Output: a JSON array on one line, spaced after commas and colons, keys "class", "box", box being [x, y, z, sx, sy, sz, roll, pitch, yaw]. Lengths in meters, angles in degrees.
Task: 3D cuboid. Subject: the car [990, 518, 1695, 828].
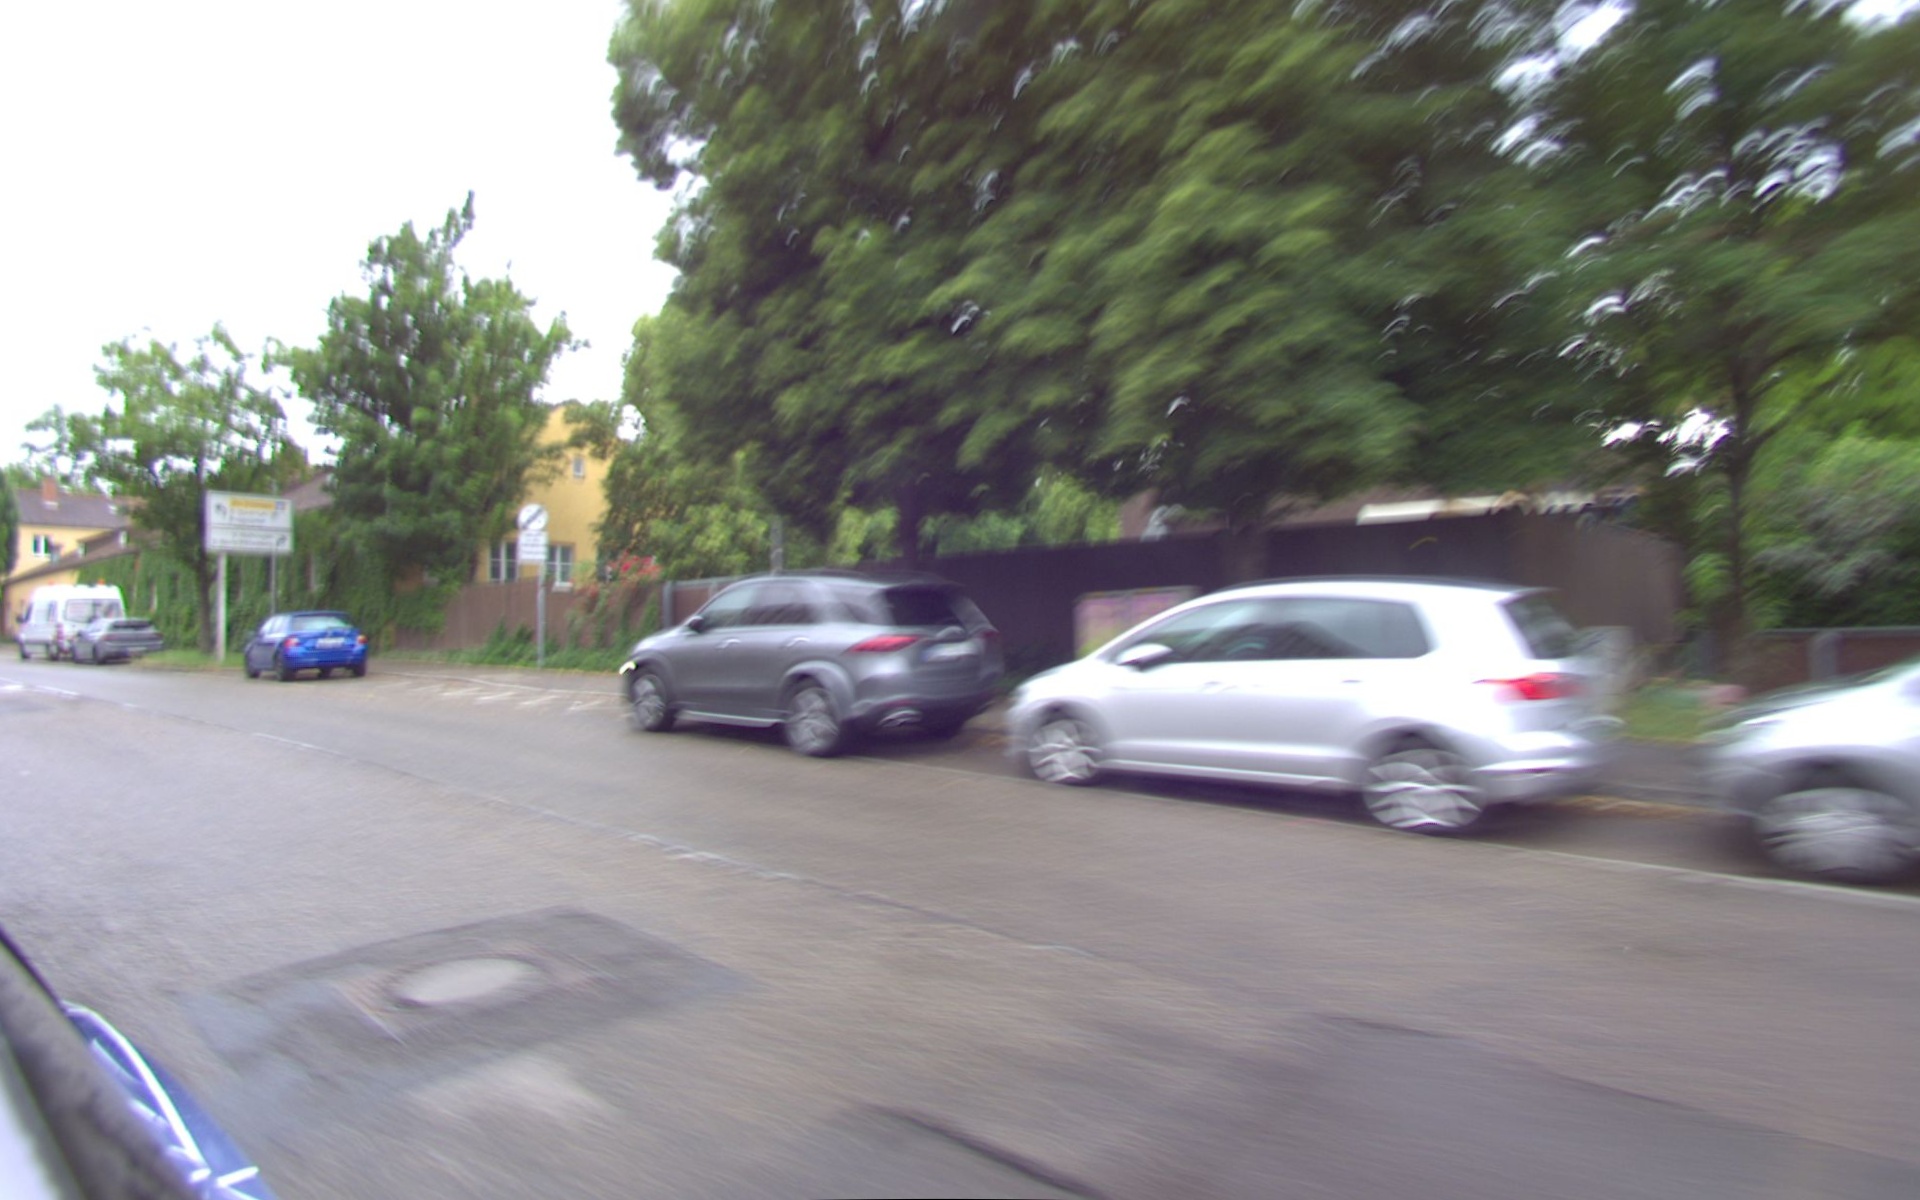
[{"class": "car", "box": [2.564, 0.350, 7.484, 4.489, 1.605, 1.968, 0, 1, 42]}]

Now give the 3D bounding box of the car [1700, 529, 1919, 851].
[{"class": "car", "box": [5.821, 0.392, 4.560, 3.847, 1.473, 1.859, 0, 1, 43]}]

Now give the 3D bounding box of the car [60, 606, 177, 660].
[{"class": "car", "box": [-27.024, 1.000, 32.452, 4.416, 1.524, 1.975, 0, 1, 38]}]

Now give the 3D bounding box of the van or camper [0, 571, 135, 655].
[{"class": "van or camper", "box": [-31.882, 0.432, 36.087, 6.129, 2.785, 2.319, -1, 1, 36]}]

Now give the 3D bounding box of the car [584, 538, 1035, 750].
[{"class": "car", "box": [-1.908, 0.343, 11.155, 5.411, 1.800, 1.972, 0, 1, 43]}]

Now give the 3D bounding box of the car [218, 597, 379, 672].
[{"class": "car", "box": [-14.853, 0.688, 22.646, 4.184, 1.481, 1.973, 0, 1, 42]}]
